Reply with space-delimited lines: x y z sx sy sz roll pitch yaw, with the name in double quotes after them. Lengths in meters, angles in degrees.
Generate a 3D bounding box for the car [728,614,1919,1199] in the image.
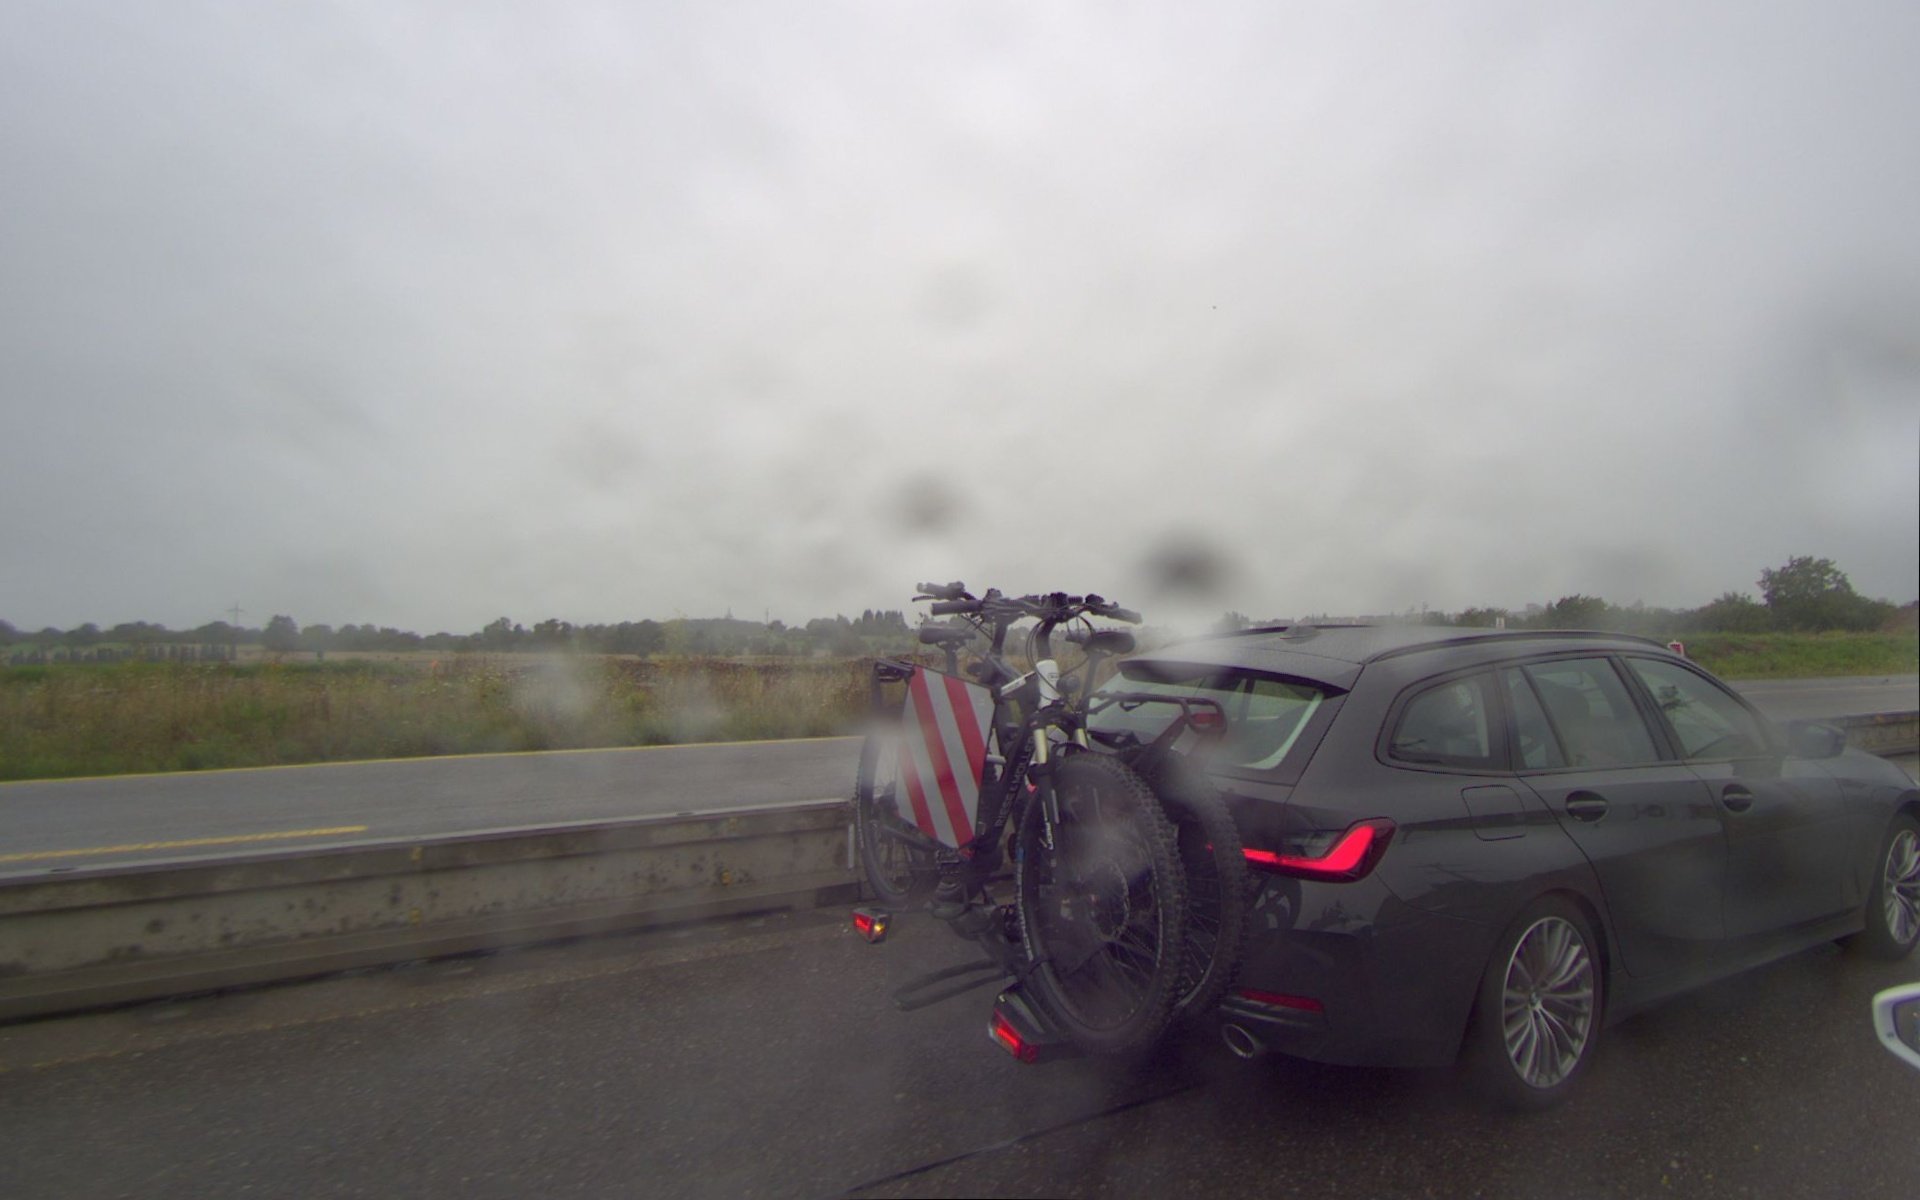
2.031 0.852 4.103 5.562 1.482 1.726 -1 0 -30 "car"
